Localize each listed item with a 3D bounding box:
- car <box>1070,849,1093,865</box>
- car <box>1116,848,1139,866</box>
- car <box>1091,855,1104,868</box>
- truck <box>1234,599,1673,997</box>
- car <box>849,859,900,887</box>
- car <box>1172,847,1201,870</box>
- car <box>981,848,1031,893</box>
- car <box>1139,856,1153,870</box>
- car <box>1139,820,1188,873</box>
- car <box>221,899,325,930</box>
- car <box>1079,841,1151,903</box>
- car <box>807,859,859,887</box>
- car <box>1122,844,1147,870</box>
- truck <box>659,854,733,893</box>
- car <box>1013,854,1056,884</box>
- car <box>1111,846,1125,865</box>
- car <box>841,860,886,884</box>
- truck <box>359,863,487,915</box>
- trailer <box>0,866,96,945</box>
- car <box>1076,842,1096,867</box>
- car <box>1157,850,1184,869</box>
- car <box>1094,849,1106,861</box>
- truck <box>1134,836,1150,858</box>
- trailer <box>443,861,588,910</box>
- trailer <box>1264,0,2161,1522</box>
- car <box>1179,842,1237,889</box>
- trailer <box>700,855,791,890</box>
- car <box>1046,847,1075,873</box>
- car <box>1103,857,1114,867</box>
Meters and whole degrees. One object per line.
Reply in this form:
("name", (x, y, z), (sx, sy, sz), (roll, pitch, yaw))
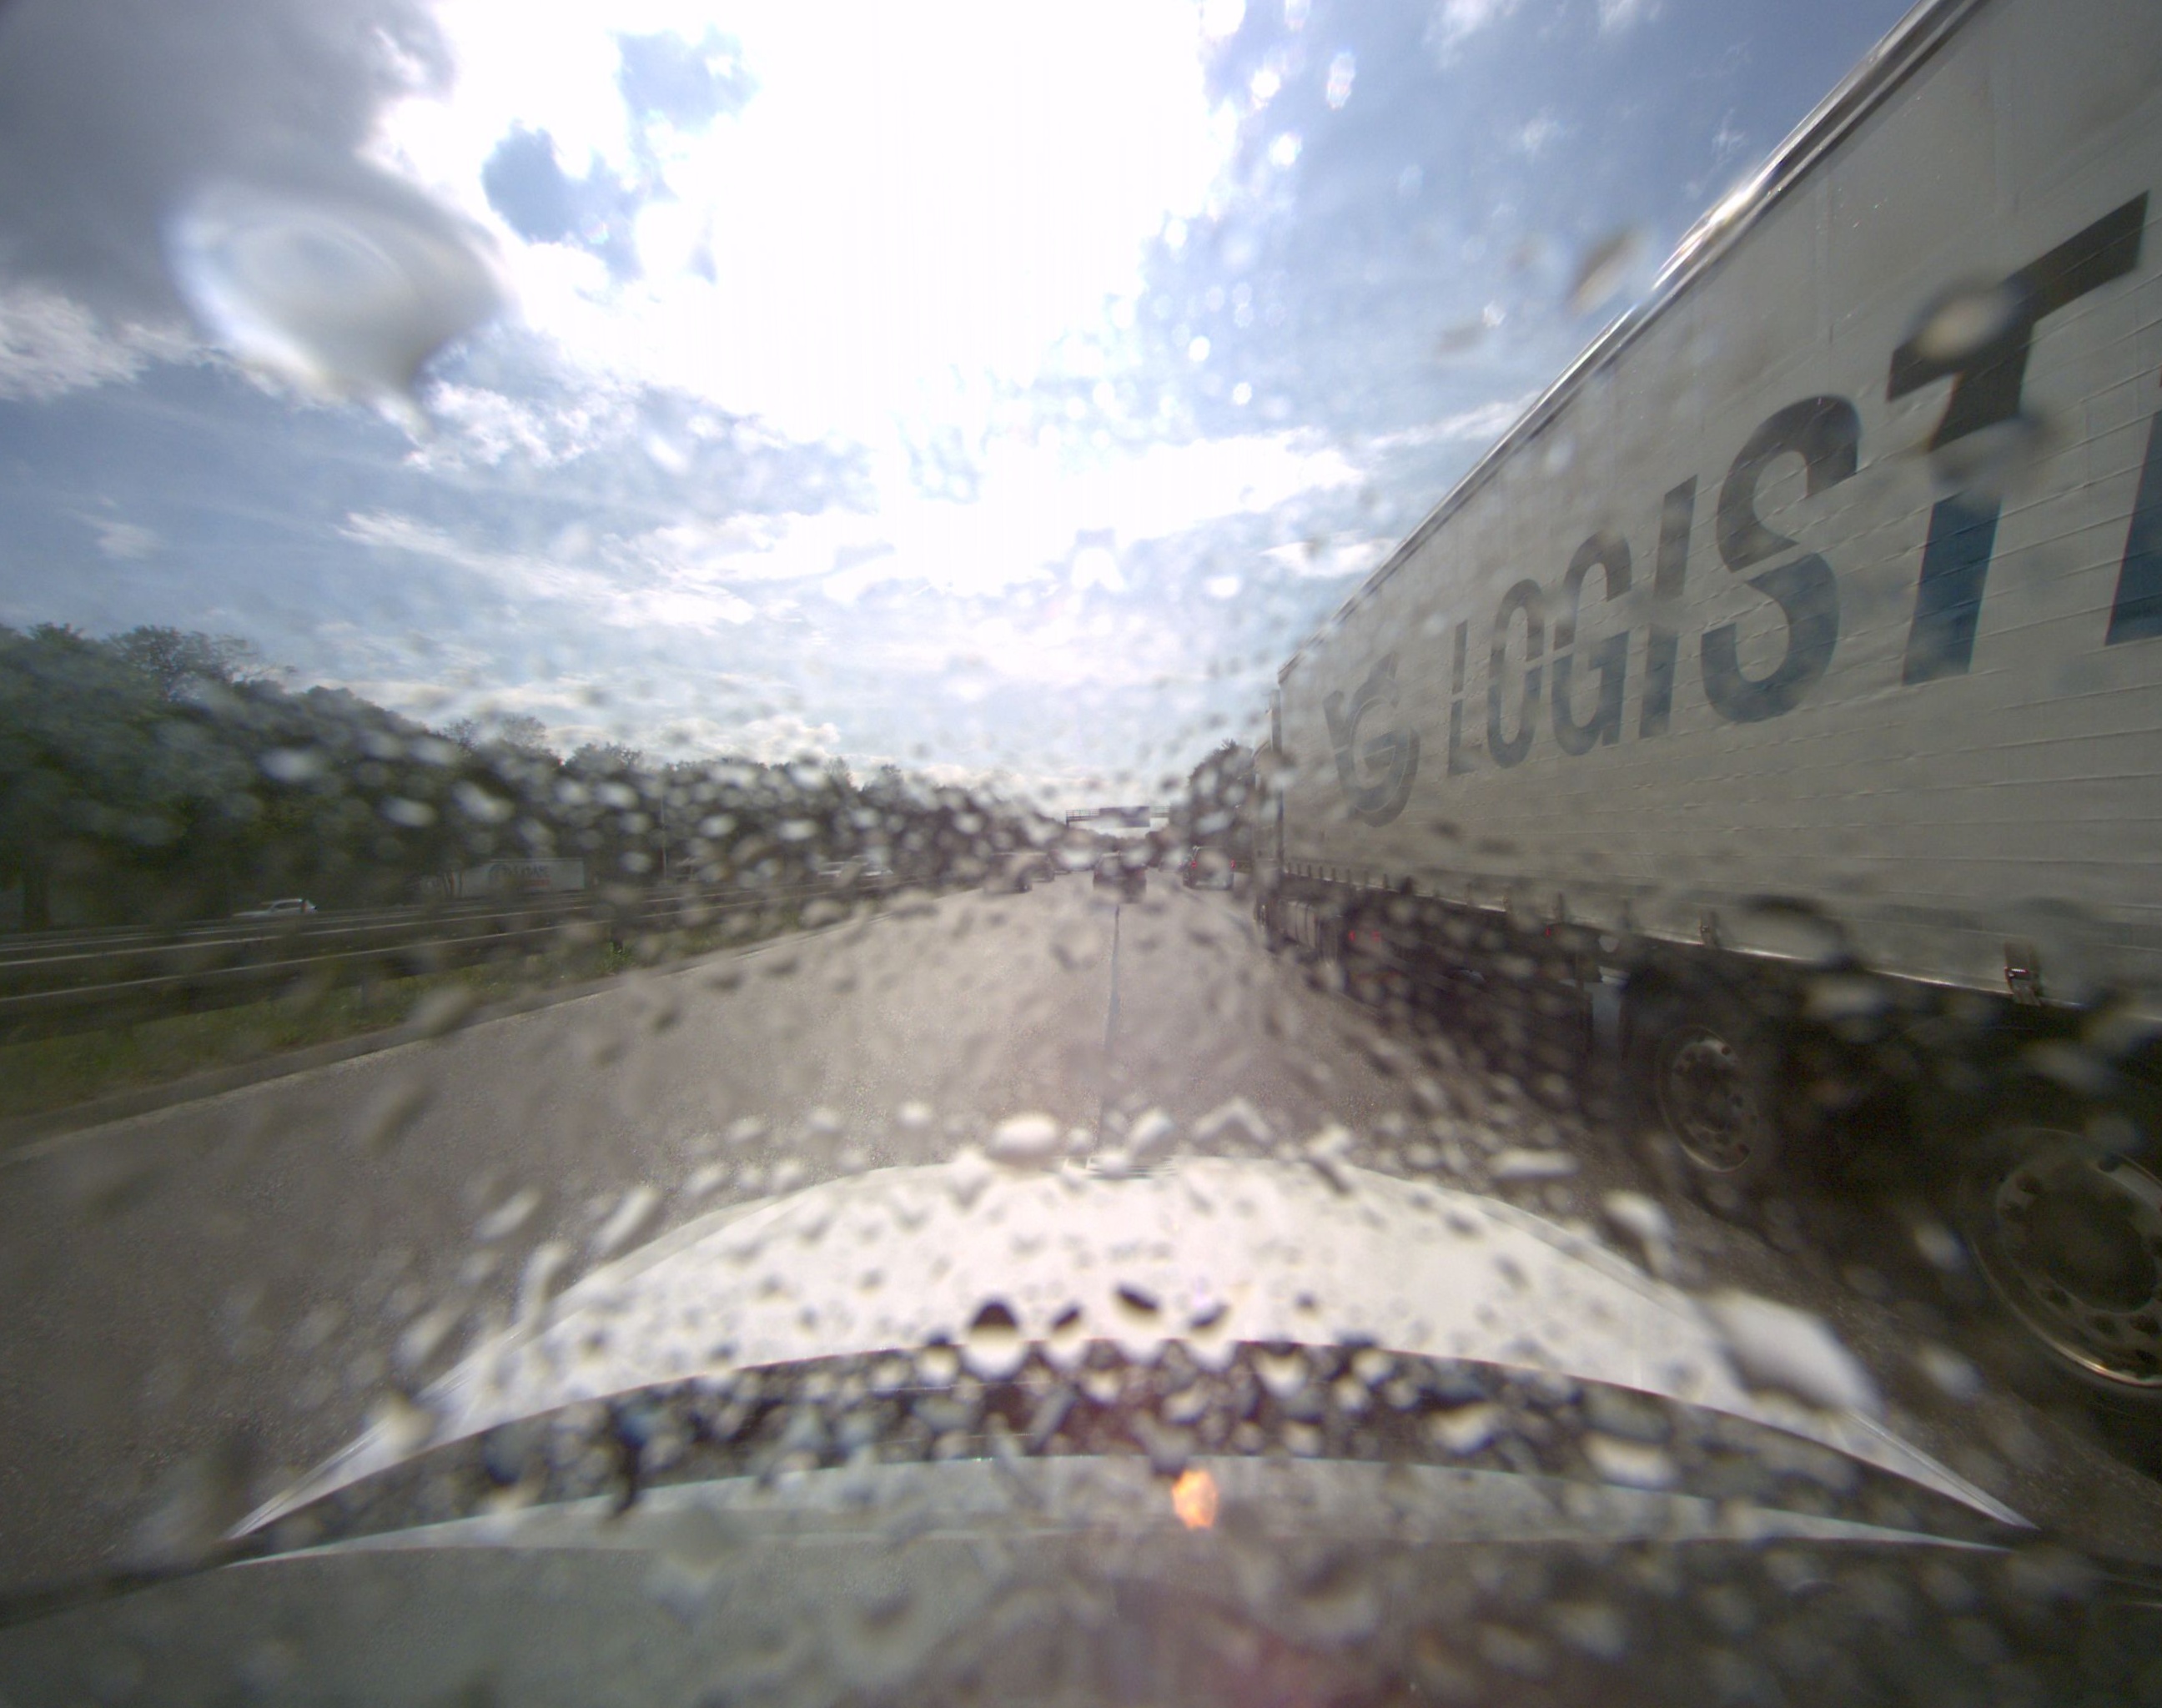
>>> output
("car", (0.075, 0.295, 78.852), (1.985, 1.565, 4.760), (-1, -1, 3))
("car", (4.115, 0.257, 72.673), (1.858, 1.516, 3.976), (-1, -1, 1))
("car", (2.790, 1.230, 138.610), (1.985, 2.115, 4.893), (-1, -1, 3))
("truck", (4.252, -0.550, 11.201), (3.272, 3.891, 6.399), (0, 0, 2))
("car", (-14.415, 1.296, 57.102), (2.038, 1.891, 5.262), (-1, -1, 2))
("car", (7.383, 0.310, 57.270), (1.585, 1.516, 3.976), (-1, -1, 1))
("car", (-3.199, 0.686, 35.273), (1.686, 1.805, 3.976), (-1, -1, 1))
("car", (10.412, 1.426, 130.722), (1.985, 2.115, 4.893), (-1, -1, 3))
("car", (9.574, -0.742, 97.342), (4.389, 5.830, 16.818), (-1, -1, 1))
("car", (-51.130, 3.800, 51.658), (2.049, 1.718, 4.374), (-1, -1, 5))
("car", (1.146, 0.584, 28.315), (2.266, 1.954, 4.822), (-1, -1, 1))
("car", (-18.210, 1.360, 60.005), (2.038, 1.891, 5.262), (-1, -1, 2))
("car", (3.949, 0.227, 60.655), (1.686, 1.805, 3.976), (-1, -1, 1))
("truck", (-43.140, 2.131, 91.592), (3.759, 4.117, 7.075), (-1, -1, 16))
("car", (-2.685, 0.850, 48.046), (1.900, 1.636, 4.621), (-2, -1, 3))
("car", (5.402, 0.256, 118.598), (1.985, 2.746, 5.264), (-1, -1, 3))
("car", (-17.752, 1.411, 66.718), (2.038, 1.891, 5.262), (-1, -1, 2))
("truck", (-49.555, 2.541, 61.624), (3.766, 3.660, 6.720), (-1, -1, 8))
("trailer", (-53.471, 2.547, 35.689), (3.772, 3.649, 13.358), (-2, 0, 4))
("car", (0.588, 0.070, 89.933), (1.985, 2.615, 5.264), (-1, -1, 3))
("car", (7.406, 0.480, 67.590), (1.858, 1.516, 3.976), (-1, -1, 1))
("car", (3.418, 0.191, 145.994), (1.985, 2.115, 4.893), (-1, -1, 3))
("truck", (10.697, -1.200, 143.956), (2.763, 3.631, 5.922), (-1, -1, 3))
("trailer", (-48.198, 2.546, 70.049), (3.765, 3.649, 10.527), (-2, 0, 10))
("trailer", (4.030, -0.535, 4.607), (3.271, 3.898, 14.134), (0, 0, 2))
("car", (5.631, 0.499, 36.752), (1.934, 1.919, 5.655), (-1, -1, 2))
("trailer", (-40.763, 2.173, 99.721), (3.759, 4.117, 11.775), (-1, -1, 16))
("car", (-1.638, 0.515, 67.025), (1.970, 2.054, 4.760), (-1, -1, 3))
("car", (5.759, 1.680, 170.212), (1.985, 2.115, 4.893), (-1, -1, 3))
